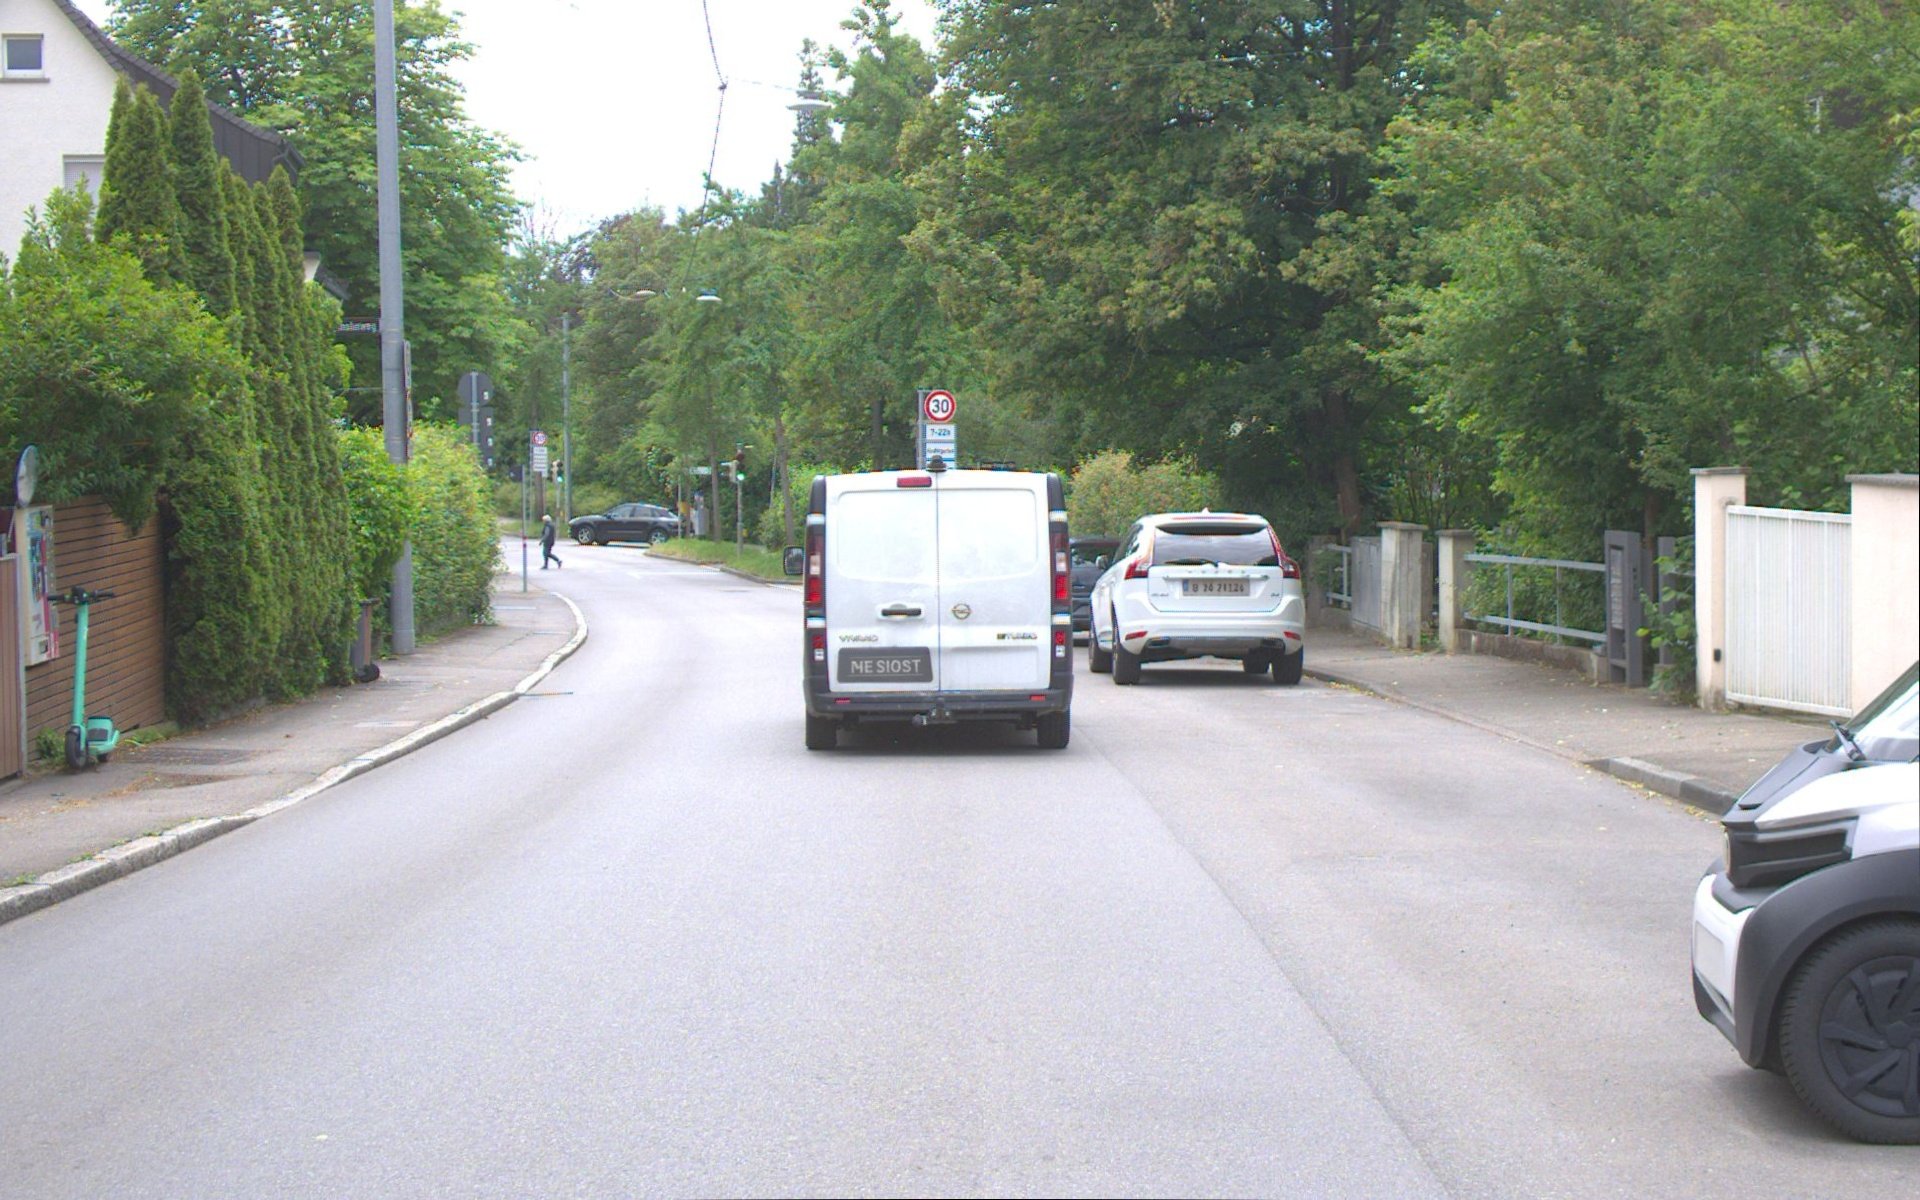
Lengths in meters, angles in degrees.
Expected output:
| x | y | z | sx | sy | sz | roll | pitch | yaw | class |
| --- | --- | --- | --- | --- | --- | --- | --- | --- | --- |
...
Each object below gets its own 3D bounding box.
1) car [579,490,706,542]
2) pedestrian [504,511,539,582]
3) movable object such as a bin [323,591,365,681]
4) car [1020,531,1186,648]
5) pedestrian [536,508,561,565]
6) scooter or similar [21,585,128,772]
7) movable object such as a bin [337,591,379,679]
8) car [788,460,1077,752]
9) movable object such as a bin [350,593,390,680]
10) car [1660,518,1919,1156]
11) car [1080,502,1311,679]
| x | y | z | sx | sy | sz | roll | pitch | yaw | class |
| --- | --- | --- | --- | --- | --- | --- | --- | --- | --- |
| -11.631 | -3.101 | 125.920 | 4.398 | 1.853 | 1.899 | 1 | 2 | 33 | car |
| -10.109 | -1.231 | 79.236 | 0.706 | 1.604 | 0.576 | -1 | 1 | -2 | pedestrian |
| -6.240 | 0.363 | 34.843 | 0.336 | 0.890 | 0.476 | 1 | 1 | 0 | movable object such as a bin |
| 1.865 | -0.175 | 45.885 | 1.709 | 1.482 | 3.791 | 0 | 1 | -5 | car |
| -11.911 | -1.837 | 99.533 | 0.697 | 1.610 | 0.715 | 0 | 3 | -7 | pedestrian |
| -5.805 | 0.496 | 22.580 | 0.391 | 1.167 | 1.270 | 0 | 1 | -1 | scooter or similar |
| -6.194 | 0.358 | 35.375 | 0.336 | 0.890 | 0.476 | 1 | 1 | 0 | movable object such as a bin |
| -0.241 | -0.038 | 25.236 | 1.930 | 1.957 | 4.402 | 0 | 2 | -1 | car |
| -6.192 | 0.381 | 36.077 | 0.336 | 0.890 | 0.476 | 1 | 1 | 0 | movable object such as a bin |
| 3.050 | 0.549 | 8.866 | 2.287 | 1.518 | 1.318 | -1 | 2 | 5 | car |
| 2.315 | -0.142 | 34.865 | 1.865 | 1.679 | 4.351 | 0 | 1 | -2 | car |
